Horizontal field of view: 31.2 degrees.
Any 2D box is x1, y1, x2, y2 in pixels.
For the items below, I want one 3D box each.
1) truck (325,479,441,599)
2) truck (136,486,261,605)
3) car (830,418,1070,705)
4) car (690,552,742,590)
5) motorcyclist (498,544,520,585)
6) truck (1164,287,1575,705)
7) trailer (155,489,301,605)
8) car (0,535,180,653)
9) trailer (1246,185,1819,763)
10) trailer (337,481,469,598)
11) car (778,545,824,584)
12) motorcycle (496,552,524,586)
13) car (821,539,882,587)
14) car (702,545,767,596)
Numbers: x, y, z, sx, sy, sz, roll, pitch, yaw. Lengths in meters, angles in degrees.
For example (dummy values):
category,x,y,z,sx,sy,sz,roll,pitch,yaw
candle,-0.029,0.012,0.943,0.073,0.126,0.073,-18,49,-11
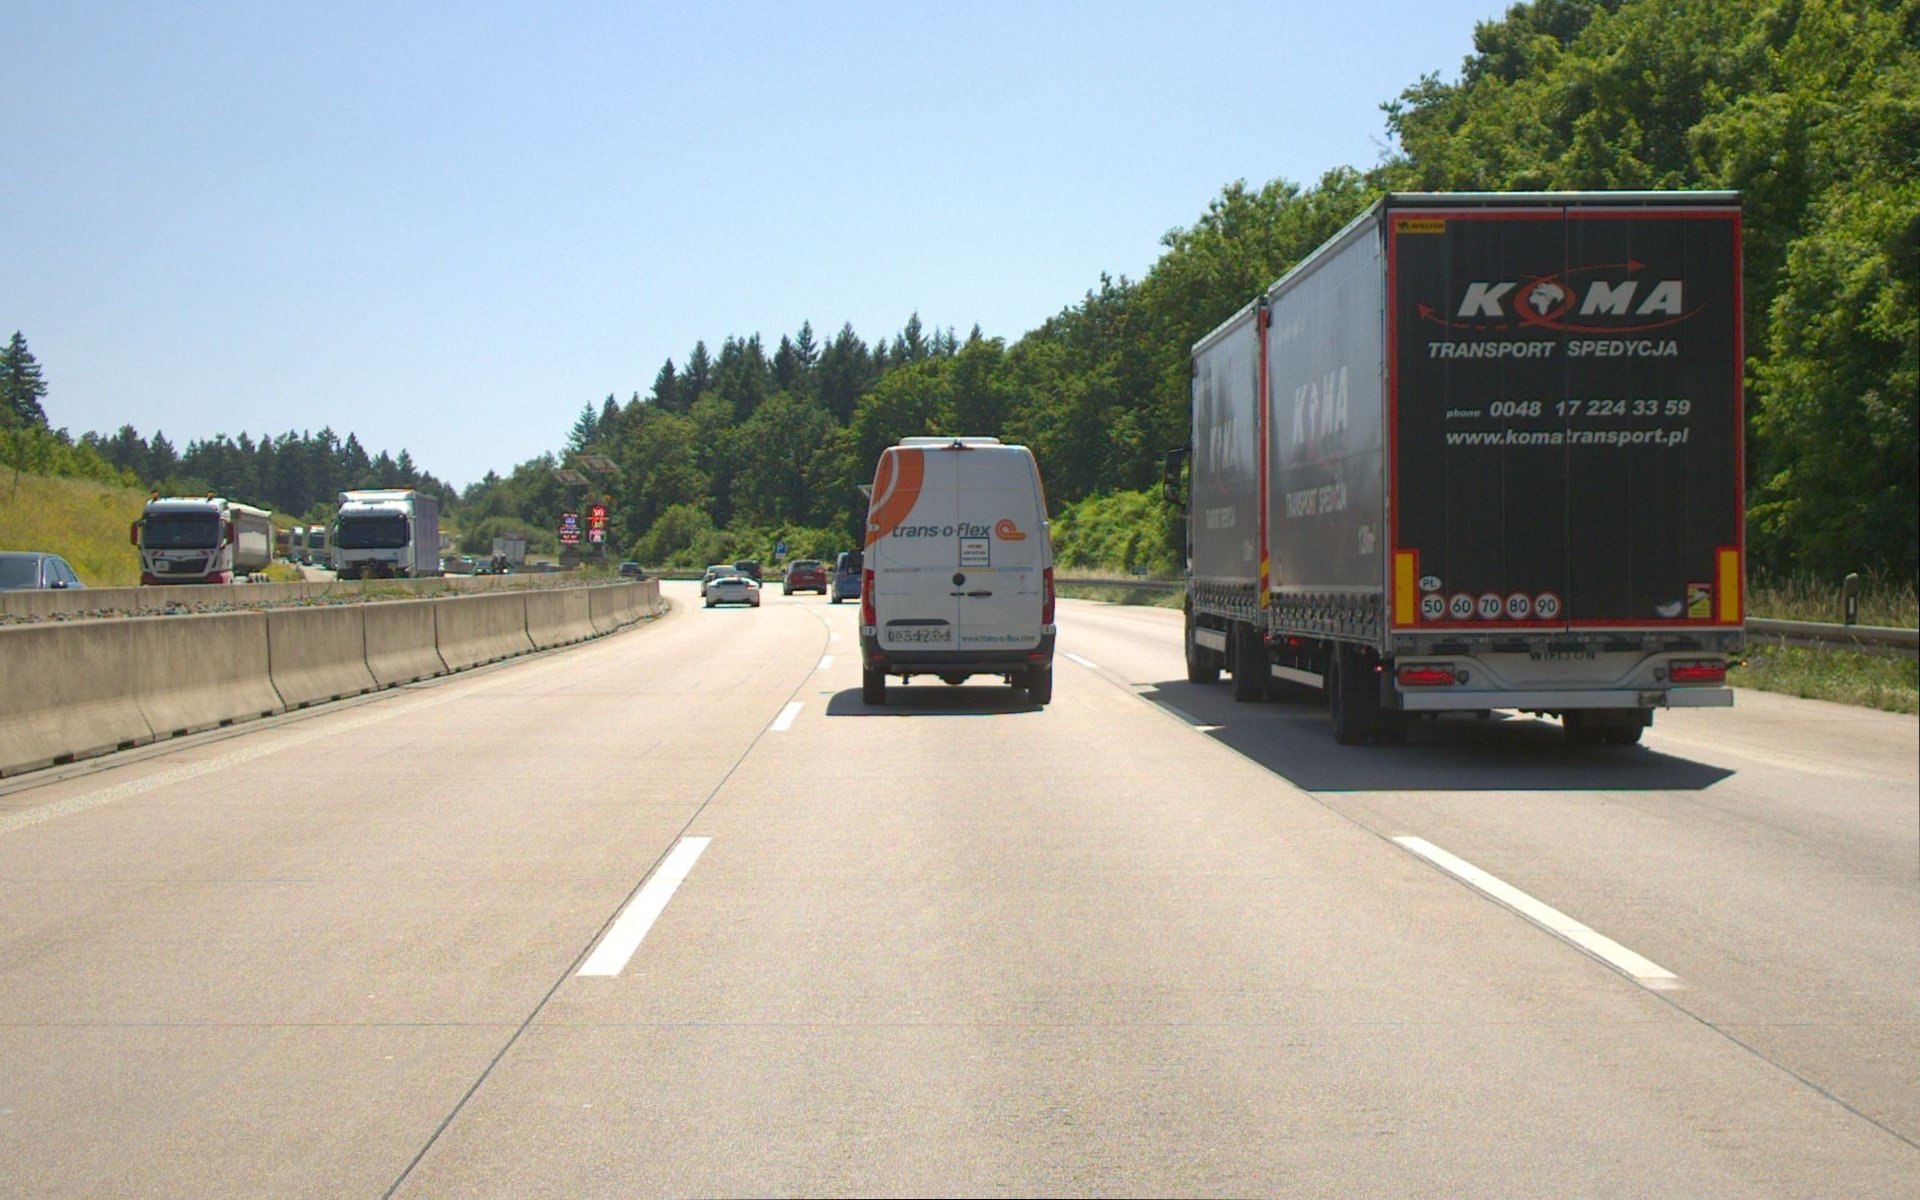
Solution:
category,x,y,z,sx,sy,sz,roll,pitch,yaw
truck,-19.739,-2.039,117.854,3.160,3.919,5.837,2,0,-3
truck,-22.733,-1.595,102.799,2.725,3.401,4.512,2,0,-1
car,-0.199,-0.433,36.690,2.226,2.834,5.455,0,1,-4
car,-11.276,-1.339,158.829,1.993,1.678,4.001,2,0,-9
motorcyclist,-20.482,-1.619,156.169,0.818,1.867,1.492,0,1,-2
truck,4.241,-1.053,38.282,3.159,4.003,10.608,0,1,-1
trailer,-22.846,-1.602,107.719,2.725,3.401,8.956,2,0,-1
car,-12.156,-0.105,47.220,1.993,1.514,4.000,1,1,-1
trailer,4.349,-0.917,28.391,3.134,4.003,9.088,0,1,0
trailer,-20.171,-2.105,125.282,3.160,3.919,13.868,2,0,-3
car,-7.405,-1.637,160.057,1.993,1.678,4.000,2,0,-4
motorcycle,-20.419,-1.419,156.066,1.008,1.544,2.484,0,1,-2
car,-3.987,-1.363,127.094,1.993,1.678,4.000,2,0,1
car,-7.846,-1.006,119.804,1.993,1.678,4.000,2,0,-1
